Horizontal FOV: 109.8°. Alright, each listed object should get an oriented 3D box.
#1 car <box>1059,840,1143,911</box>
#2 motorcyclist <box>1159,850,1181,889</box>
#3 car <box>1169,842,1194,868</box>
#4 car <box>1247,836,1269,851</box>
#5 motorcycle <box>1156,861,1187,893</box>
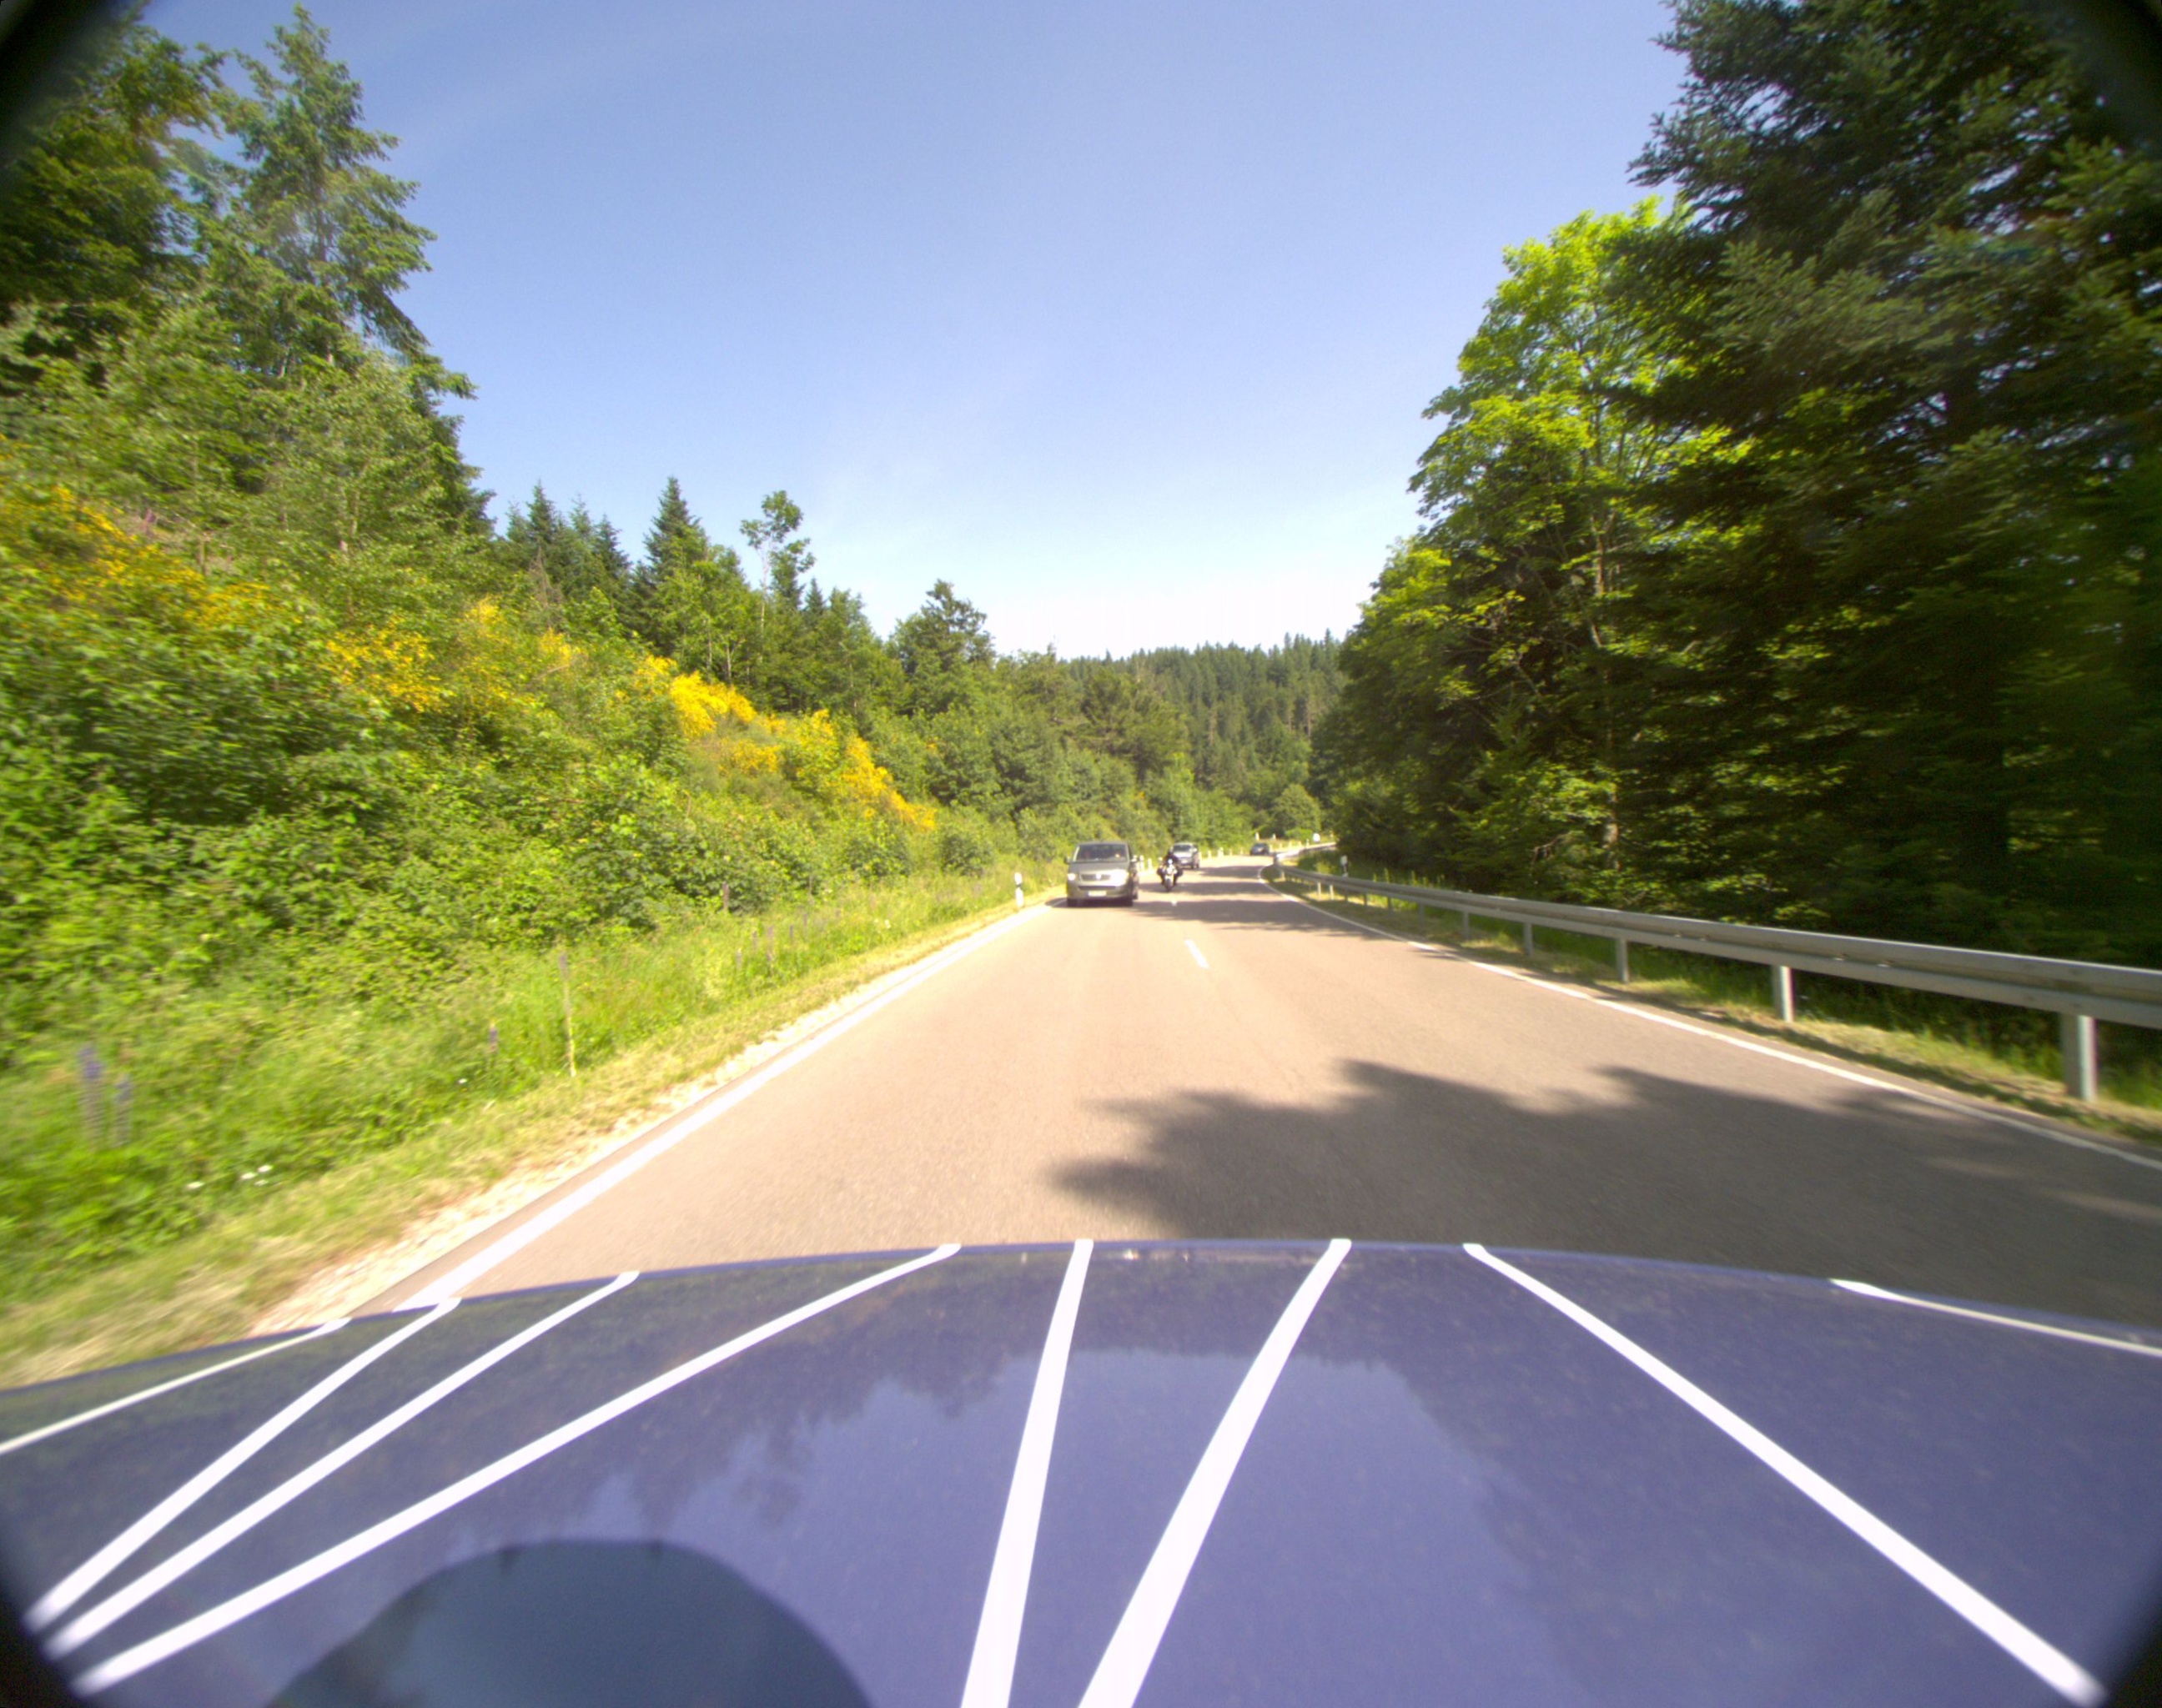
[{"bbox_3d":[0.745,0.564,23.348,2.028,1.940,4.901,-1,1,8],"label":"car"},{"bbox_3d":[3.349,0.571,28.606,0.716,1.422,0.999,-3,1,6],"label":"motorcyclist"},{"bbox_3d":[7.409,0.030,55.733,1.651,1.749,3.796,-1,2,10],"label":"car"},{"bbox_3d":[21.132,-1.231,90.491,1.995,1.634,4.005,-2,2,21],"label":"car"},{"bbox_3d":[3.386,0.846,28.614,1.109,1.117,1.961,-1,1,6],"label":"motorcycle"}]
